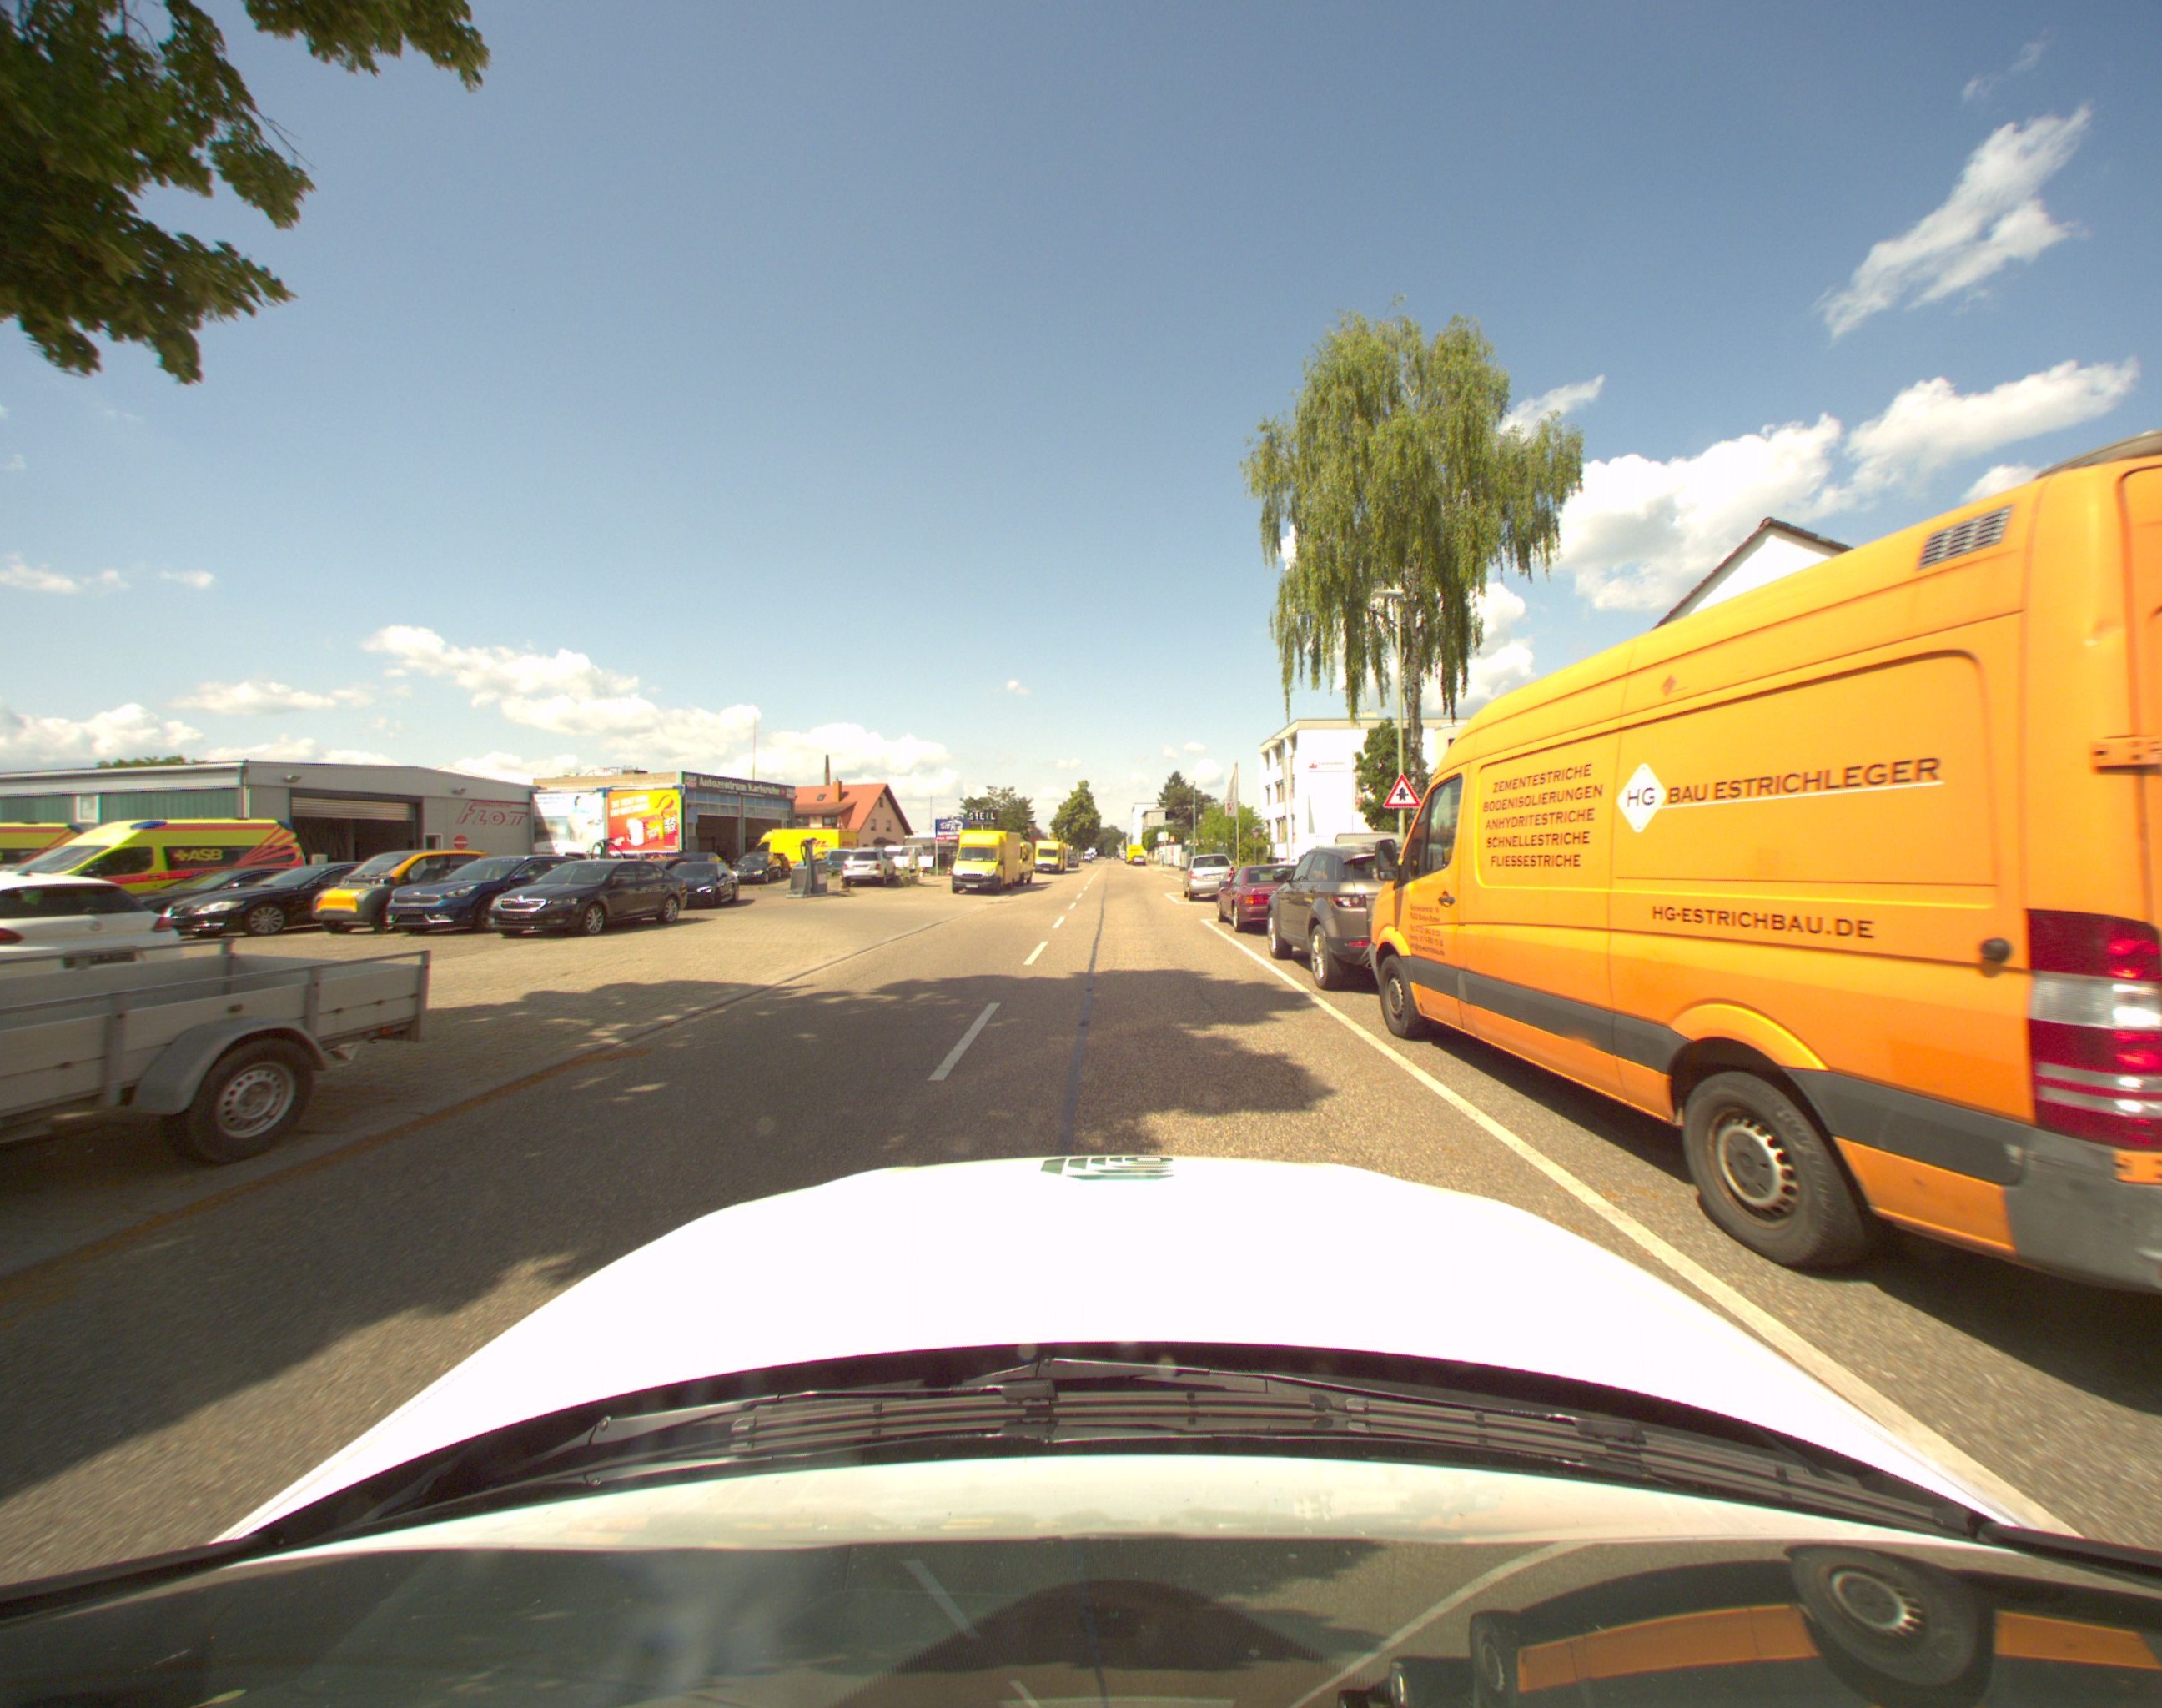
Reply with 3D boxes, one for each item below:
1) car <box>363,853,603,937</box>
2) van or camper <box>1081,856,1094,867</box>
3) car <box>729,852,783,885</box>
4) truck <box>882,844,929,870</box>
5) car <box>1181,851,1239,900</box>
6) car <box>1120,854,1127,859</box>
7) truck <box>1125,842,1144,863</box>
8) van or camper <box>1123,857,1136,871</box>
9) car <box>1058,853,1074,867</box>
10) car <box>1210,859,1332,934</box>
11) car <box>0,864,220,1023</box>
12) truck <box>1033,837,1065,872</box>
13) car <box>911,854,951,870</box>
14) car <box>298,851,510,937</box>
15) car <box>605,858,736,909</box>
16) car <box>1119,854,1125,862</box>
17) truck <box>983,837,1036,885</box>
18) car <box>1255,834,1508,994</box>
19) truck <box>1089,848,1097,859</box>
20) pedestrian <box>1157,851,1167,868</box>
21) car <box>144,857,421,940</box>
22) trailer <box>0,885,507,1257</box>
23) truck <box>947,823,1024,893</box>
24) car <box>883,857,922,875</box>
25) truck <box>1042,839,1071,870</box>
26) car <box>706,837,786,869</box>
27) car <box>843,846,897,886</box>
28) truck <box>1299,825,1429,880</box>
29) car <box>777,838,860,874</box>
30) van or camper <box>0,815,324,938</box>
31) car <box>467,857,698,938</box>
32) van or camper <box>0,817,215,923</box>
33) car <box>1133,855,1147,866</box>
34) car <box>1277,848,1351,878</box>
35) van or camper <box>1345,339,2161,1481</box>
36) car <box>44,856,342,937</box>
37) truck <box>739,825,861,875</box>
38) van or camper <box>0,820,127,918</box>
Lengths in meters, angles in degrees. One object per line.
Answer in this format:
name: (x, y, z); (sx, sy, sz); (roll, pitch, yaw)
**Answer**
car: (-12.348, 0.763, 17.230); (1.746, 1.533, 4.261); (0, 0, 3)
van or camper: (1.397, 1.601, 180.563); (2.163, 2.413, 7.708); (-1, 0, 5)
car: (-15.992, 0.683, 40.238); (1.670, 1.287, 3.995); (0, 3, -11)
truck: (-17.314, 0.300, 80.619); (2.095, 2.488, 5.744); (-1, 0, 16)
car: (4.438, 0.688, 28.458); (1.603, 1.580, 4.004); (1, 0, 4)
car: (11.153, 0.569, 213.568); (1.921, 1.310, 4.002); (-1, 0, 2)
truck: (7.860, -0.221, 120.717); (2.466, 2.940, 7.189); (1, 0, 1)
van or camper: (8.330, 1.715, 140.535); (1.986, 2.291, 5.450); (1, 0, 2)
car: (-1.781, 0.725, 98.384); (1.718, 1.604, 4.414); (3, 0, 0)
car: (3.817, 0.787, 17.099); (1.663, 1.335, 4.440); (0, 0, 2)
car: (-11.496, 0.808, 8.184); (4.005, 1.374, 1.831); (0, 0, 6)
truck: (-2.753, 0.095, 70.920); (2.261, 2.855, 7.176); (1, -1, 1)
car: (-13.101, 0.677, 71.301); (1.795, 1.305, 3.886); (-1, 1, 17)
car: (-14.285, 0.766, 17.419); (1.434, 1.656, 3.310); (-1, 0, 10)
car: (-12.747, 0.903, 25.193); (4.534, 1.395, 2.012); (-2, -1, 40)
car: (11.854, 1.182, 237.466); (1.701, 2.090, 4.001); (-1, 0, 1)
truck: (-3.810, 0.368, 44.433); (1.985, 2.413, 6.070); (0, 0, 3)
car: (3.543, 0.616, 10.496); (1.825, 1.640, 4.242); (-1, 0, 2)
truck: (3.442, -0.096, 225.635); (2.021, 3.154, 6.503); (-1, 0, 2)
pedestrian: (8.297, 0.538, 83.281); (0.714, 1.697, 0.522); (-6, 0, -3)
car: (-17.026, 0.862, 17.719); (1.746, 1.533, 4.168); (-2, 0, 3)
trailer: (-5.175, 0.926, 3.778); (1.756, 1.289, 4.507); (3, 0, 0)
truck: (-4.222, 0.156, 37.325); (2.211, 2.857, 7.076); (1, 0, 4)
car: (-15.873, 1.089, 72.649); (1.752, 1.513, 3.933); (-1, 0, 15)
truck: (-2.401, 0.031, 80.534); (2.307, 2.862, 7.107); (2, 0, 2)
car: (-18.967, -0.076, 46.180); (3.816, 1.731, 1.738); (-1, 0, 12)
car: (-10.067, 0.526, 39.165); (1.827, 1.705, 4.698); (-1, 2, -7)
truck: (14.064, -0.085, 40.454); (6.068, 2.577, 2.546); (0, 0, -24)
car: (-14.506, 0.099, 45.099); (3.902, 1.810, 1.861); (2, 0, 11)
van or camper: (-21.599, 0.412, 19.179); (1.981, 2.475, 5.376); (0, 1, 10)
car: (-10.001, 0.795, 16.850); (1.746, 1.410, 4.588); (0, 0, 3)
van or camper: (-25.927, 0.349, 20.523); (1.981, 2.475, 5.376); (0, 1, 10)
car: (7.882, 0.853, 109.291); (1.645, 1.387, 4.425); (1, 0, 2)
car: (14.751, 0.599, 51.541); (4.358, 1.753, 1.874); (-1, -3, 20)
van or camper: (3.474, 0.113, 4.796); (1.987, 2.664, 5.769); (-1, 0, 0)
car: (-19.277, 0.833, 18.005); (1.744, 1.533, 4.174); (0, 0, 8)
truck: (-16.851, -0.203, 48.960); (6.550, 2.850, 2.539); (0, 0, 14)
van or camper: (-28.465, 0.385, 20.546); (1.981, 2.475, 5.376); (0, 1, 10)
